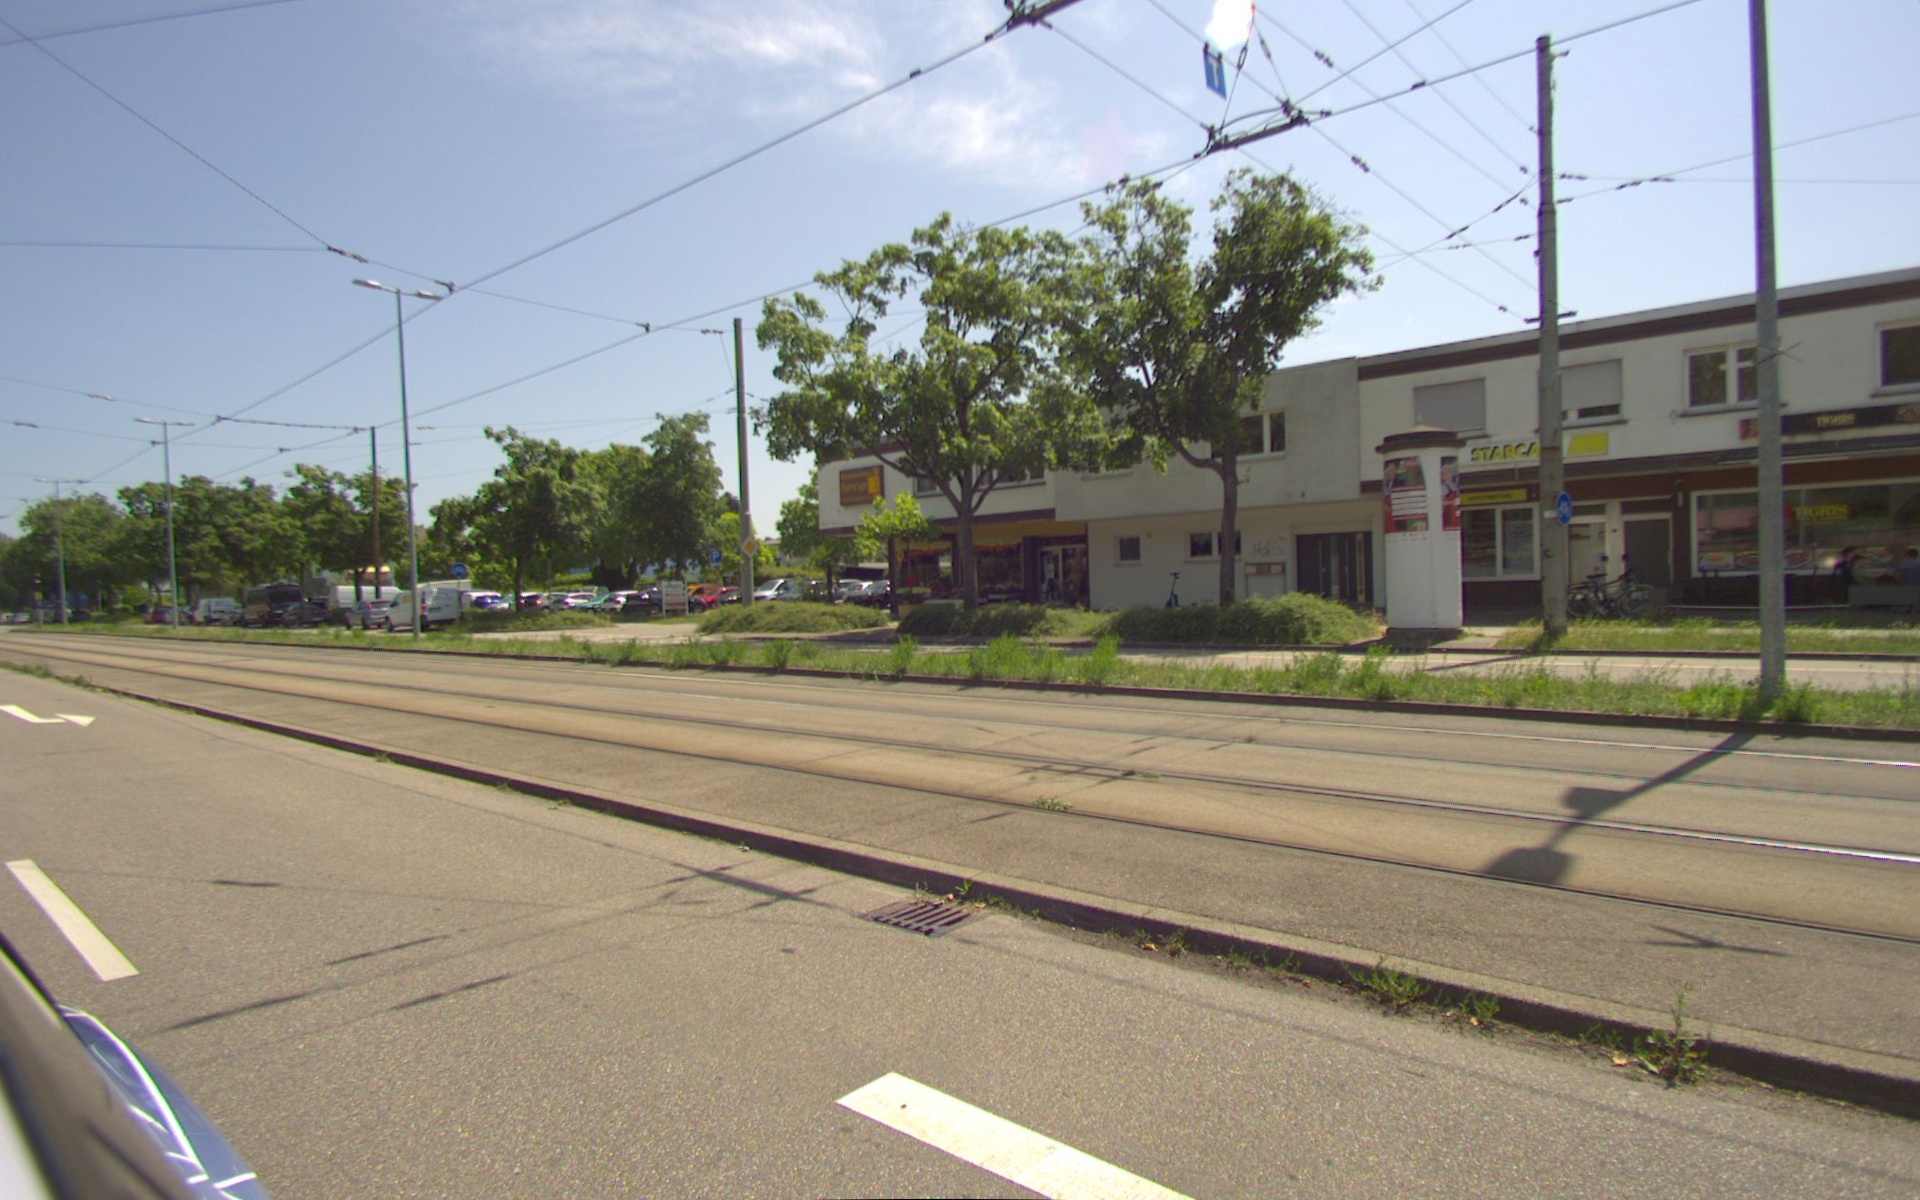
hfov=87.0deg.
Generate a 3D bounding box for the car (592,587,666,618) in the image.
[{"bbox_3d":[-17.963,0.121,55.032,1.790,1.502,3.375,-1,1,35],"label":"car"}]

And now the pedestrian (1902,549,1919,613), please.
[{"bbox_3d":[19.127,-0.385,20.148,0.491,1.248,0.569,-1,1,40],"label":"pedestrian"}]

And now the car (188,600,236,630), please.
[{"bbox_3d":[-52.526,1.052,71.038,4.506,1.989,1.660,-1,1,40],"label":"car"}]

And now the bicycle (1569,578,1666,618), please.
[{"bbox_3d":[15.004,-0.029,23.117,1.786,0.854,0.523,-1,3,41],"label":"bicycle"}]

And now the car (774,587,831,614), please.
[{"bbox_3d":[-9.993,0.012,64.244,1.532,1.549,3.450,-1,1,38],"label":"car"}]

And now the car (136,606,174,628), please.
[{"bbox_3d":[-65.456,1.362,82.245,3.820,1.716,1.660,-1,1,40],"label":"car"}]

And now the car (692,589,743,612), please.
[{"bbox_3d":[-17.115,0.007,71.504,1.504,1.469,3.315,-1,1,38],"label":"car"}]

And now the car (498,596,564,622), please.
[{"bbox_3d":[-26.008,0.530,61.423,1.600,1.404,3.375,-1,1,35],"label":"car"}]

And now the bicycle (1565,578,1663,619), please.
[{"bbox_3d":[14.633,-0.020,22.681,1.786,0.854,0.523,-1,3,41],"label":"bicycle"}]

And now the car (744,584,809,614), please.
[{"bbox_3d":[-11.877,-0.111,65.632,1.811,1.798,3.950,-1,1,38],"label":"car"}]

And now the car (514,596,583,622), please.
[{"bbox_3d":[-24.025,0.510,59.153,1.600,1.404,3.375,-1,1,35],"label":"car"}]

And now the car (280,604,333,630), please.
[{"bbox_3d":[-37.437,0.990,57.914,3.669,1.397,1.653,-1,1,43],"label":"car"}]

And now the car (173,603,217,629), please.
[{"bbox_3d":[-56.879,1.198,75.216,4.199,1.807,1.660,-1,1,40],"label":"car"}]

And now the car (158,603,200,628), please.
[{"bbox_3d":[-60.214,1.231,78.037,4.199,1.807,1.660,-2,0,40],"label":"car"}]

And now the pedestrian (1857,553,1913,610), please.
[{"bbox_3d":[19.167,-0.378,20.979,0.810,1.136,0.558,-1,1,41],"label":"pedestrian"}]

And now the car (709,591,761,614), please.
[{"bbox_3d":[-15.435,0.155,69.568,1.504,1.400,3.315,-1,1,38],"label":"car"}]

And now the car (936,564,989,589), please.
[{"bbox_3d":[0.217,-1.835,78.932,2.000,1.785,3.944,-1,1,42],"label":"car"}]

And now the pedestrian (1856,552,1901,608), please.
[{"bbox_3d":[19.595,-0.419,21.599,0.674,1.172,0.512,-1,1,41],"label":"pedestrian"}]

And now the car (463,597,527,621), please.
[{"bbox_3d":[-29.856,0.574,65.081,1.600,1.404,3.375,-1,1,35],"label":"car"}]

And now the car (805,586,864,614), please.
[{"bbox_3d":[-7.654,-0.005,61.942,1.622,1.549,3.450,-1,1,38],"label":"car"}]

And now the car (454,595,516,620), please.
[{"bbox_3d":[-31.526,0.484,67.264,1.600,1.517,3.375,-1,1,35],"label":"car"}]

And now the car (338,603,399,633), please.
[{"bbox_3d":[-30.020,0.909,51.341,3.568,1.397,1.653,-1,1,43],"label":"car"}]

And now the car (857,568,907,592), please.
[{"bbox_3d":[-6.764,-1.758,87.991,2.000,2.029,3.944,-1,1,42],"label":"car"}]

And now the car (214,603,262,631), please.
[{"bbox_3d":[-48.258,1.127,67.643,3.866,1.807,1.660,-1,1,40],"label":"car"}]

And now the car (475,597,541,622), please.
[{"bbox_3d":[-27.995,0.553,62.797,1.600,1.404,3.375,-1,1,35],"label":"car"}]

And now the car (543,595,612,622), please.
[{"bbox_3d":[-21.912,0.485,58.082,1.600,1.404,3.375,-1,1,35],"label":"car"}]

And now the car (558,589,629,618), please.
[{"bbox_3d":[-20.276,0.192,56.099,1.595,1.502,3.375,-1,1,35],"label":"car"}]

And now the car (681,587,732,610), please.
[{"bbox_3d":[-18.461,-0.125,73.821,1.504,1.573,3.315,-1,1,38],"label":"car"}]

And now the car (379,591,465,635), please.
[{"bbox_3d":[-25.133,0.611,47.202,4.659,1.897,1.973,-1,1,41],"label":"car"}]

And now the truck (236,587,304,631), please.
[{"bbox_3d":[-42.196,0.542,61.849,4.927,2.560,2.197,-1,1,41],"label":"truck"}]

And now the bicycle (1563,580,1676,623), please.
[{"bbox_3d":[14.030,0.044,21.560,1.958,0.854,0.596,-1,3,41],"label":"bicycle"}]

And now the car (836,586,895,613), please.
[{"bbox_3d":[-5.676,-0.044,61.194,1.622,1.549,3.450,-1,1,38],"label":"car"}]
